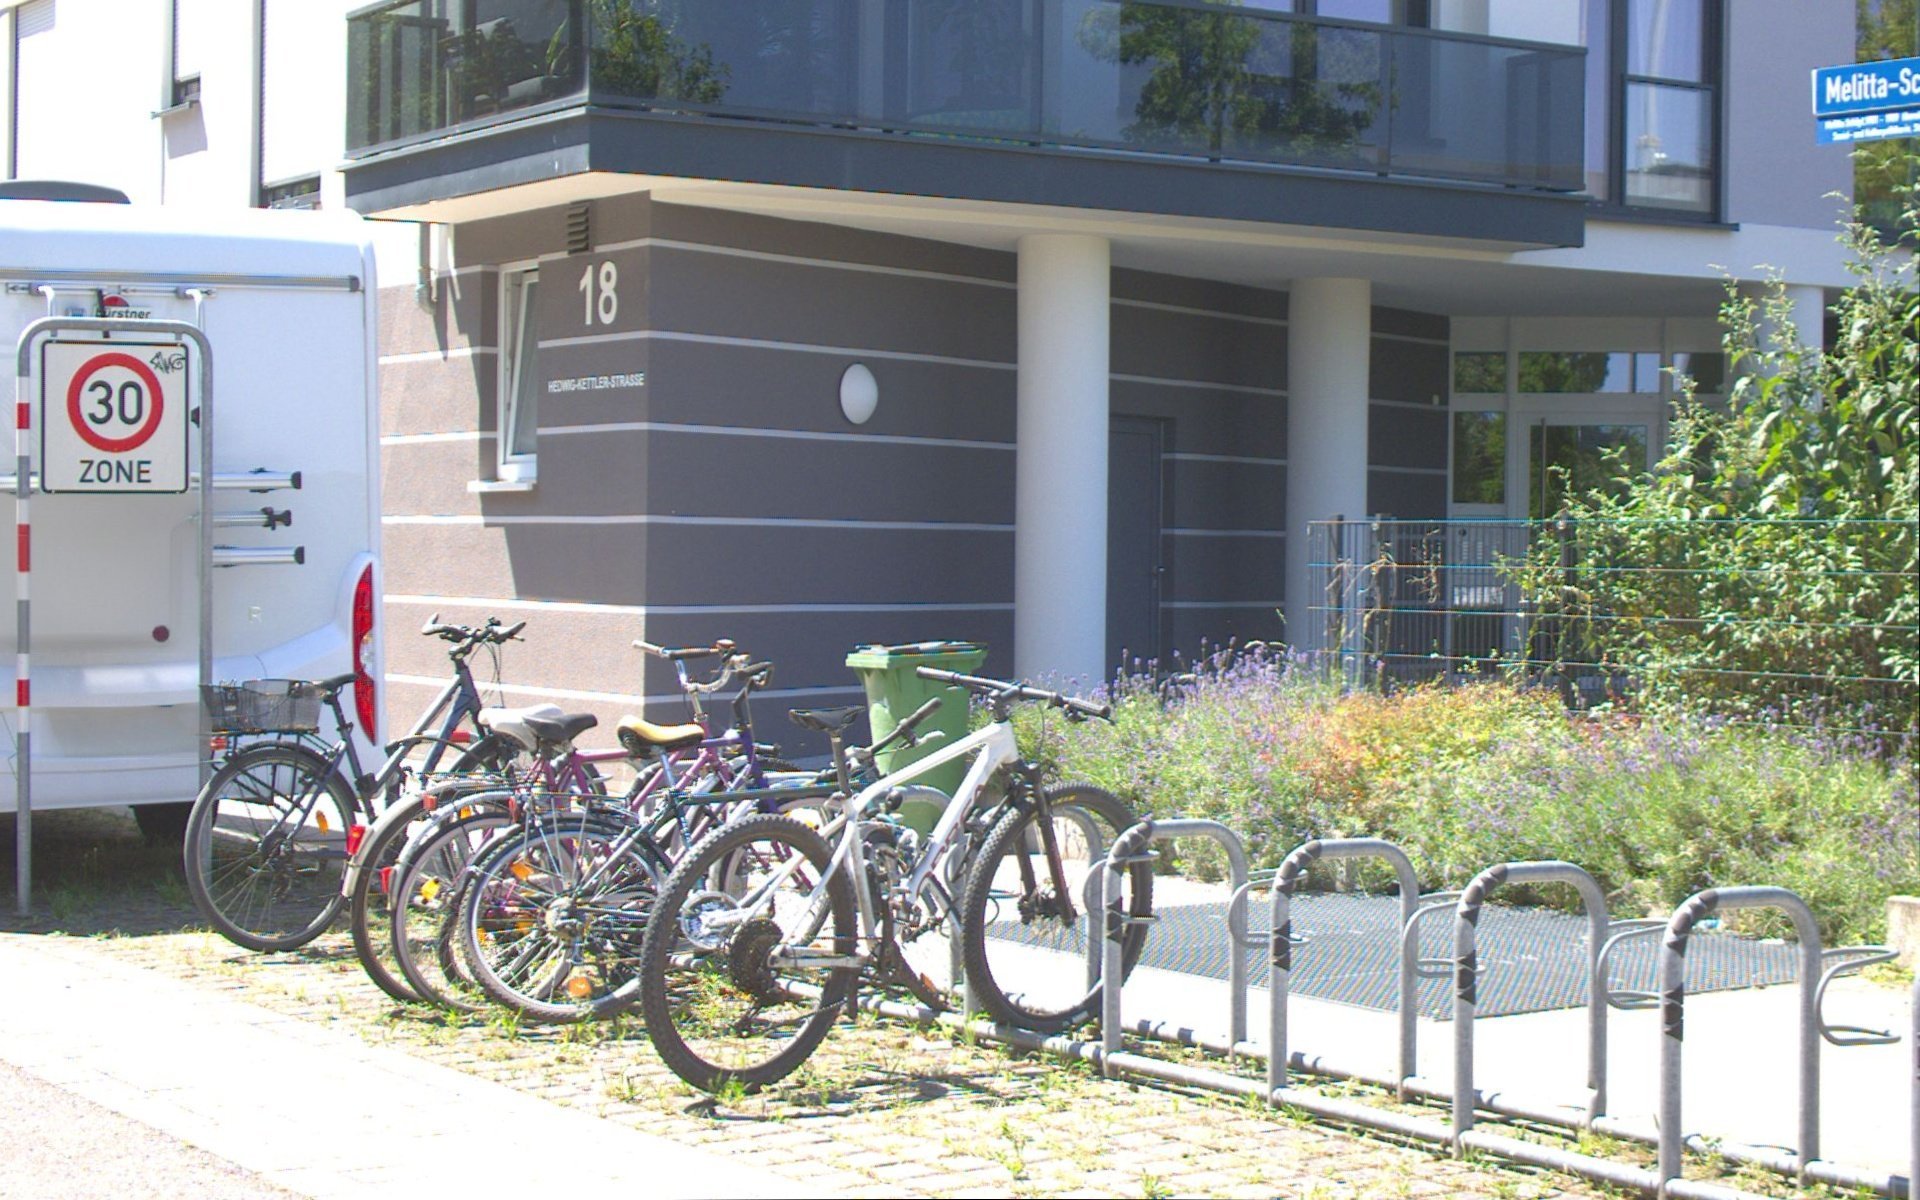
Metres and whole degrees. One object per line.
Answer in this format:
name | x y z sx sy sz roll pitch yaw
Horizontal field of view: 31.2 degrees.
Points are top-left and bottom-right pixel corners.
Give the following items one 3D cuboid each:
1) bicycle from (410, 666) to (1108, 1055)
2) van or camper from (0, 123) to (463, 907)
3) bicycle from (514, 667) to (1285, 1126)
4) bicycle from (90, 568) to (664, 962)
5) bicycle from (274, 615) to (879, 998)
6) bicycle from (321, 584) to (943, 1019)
bicycle | -0.605 0.727 10.130 1.853 0.971 0.945 -1 2 -19
van or camper | -5.151 -0.349 16.327 2.439 2.896 7.826 1 0 -33
bicycle | -0.119 0.735 9.304 2.028 1.000 0.875 -2 2 -44
bicycle | -2.061 0.540 12.371 0.826 1.218 1.917 2 4 42
bicycle | -1.197 0.621 10.950 1.883 1.107 0.476 -1 2 -31
bicycle | -0.993 0.579 10.632 1.850 1.218 0.555 -1 2 -31
